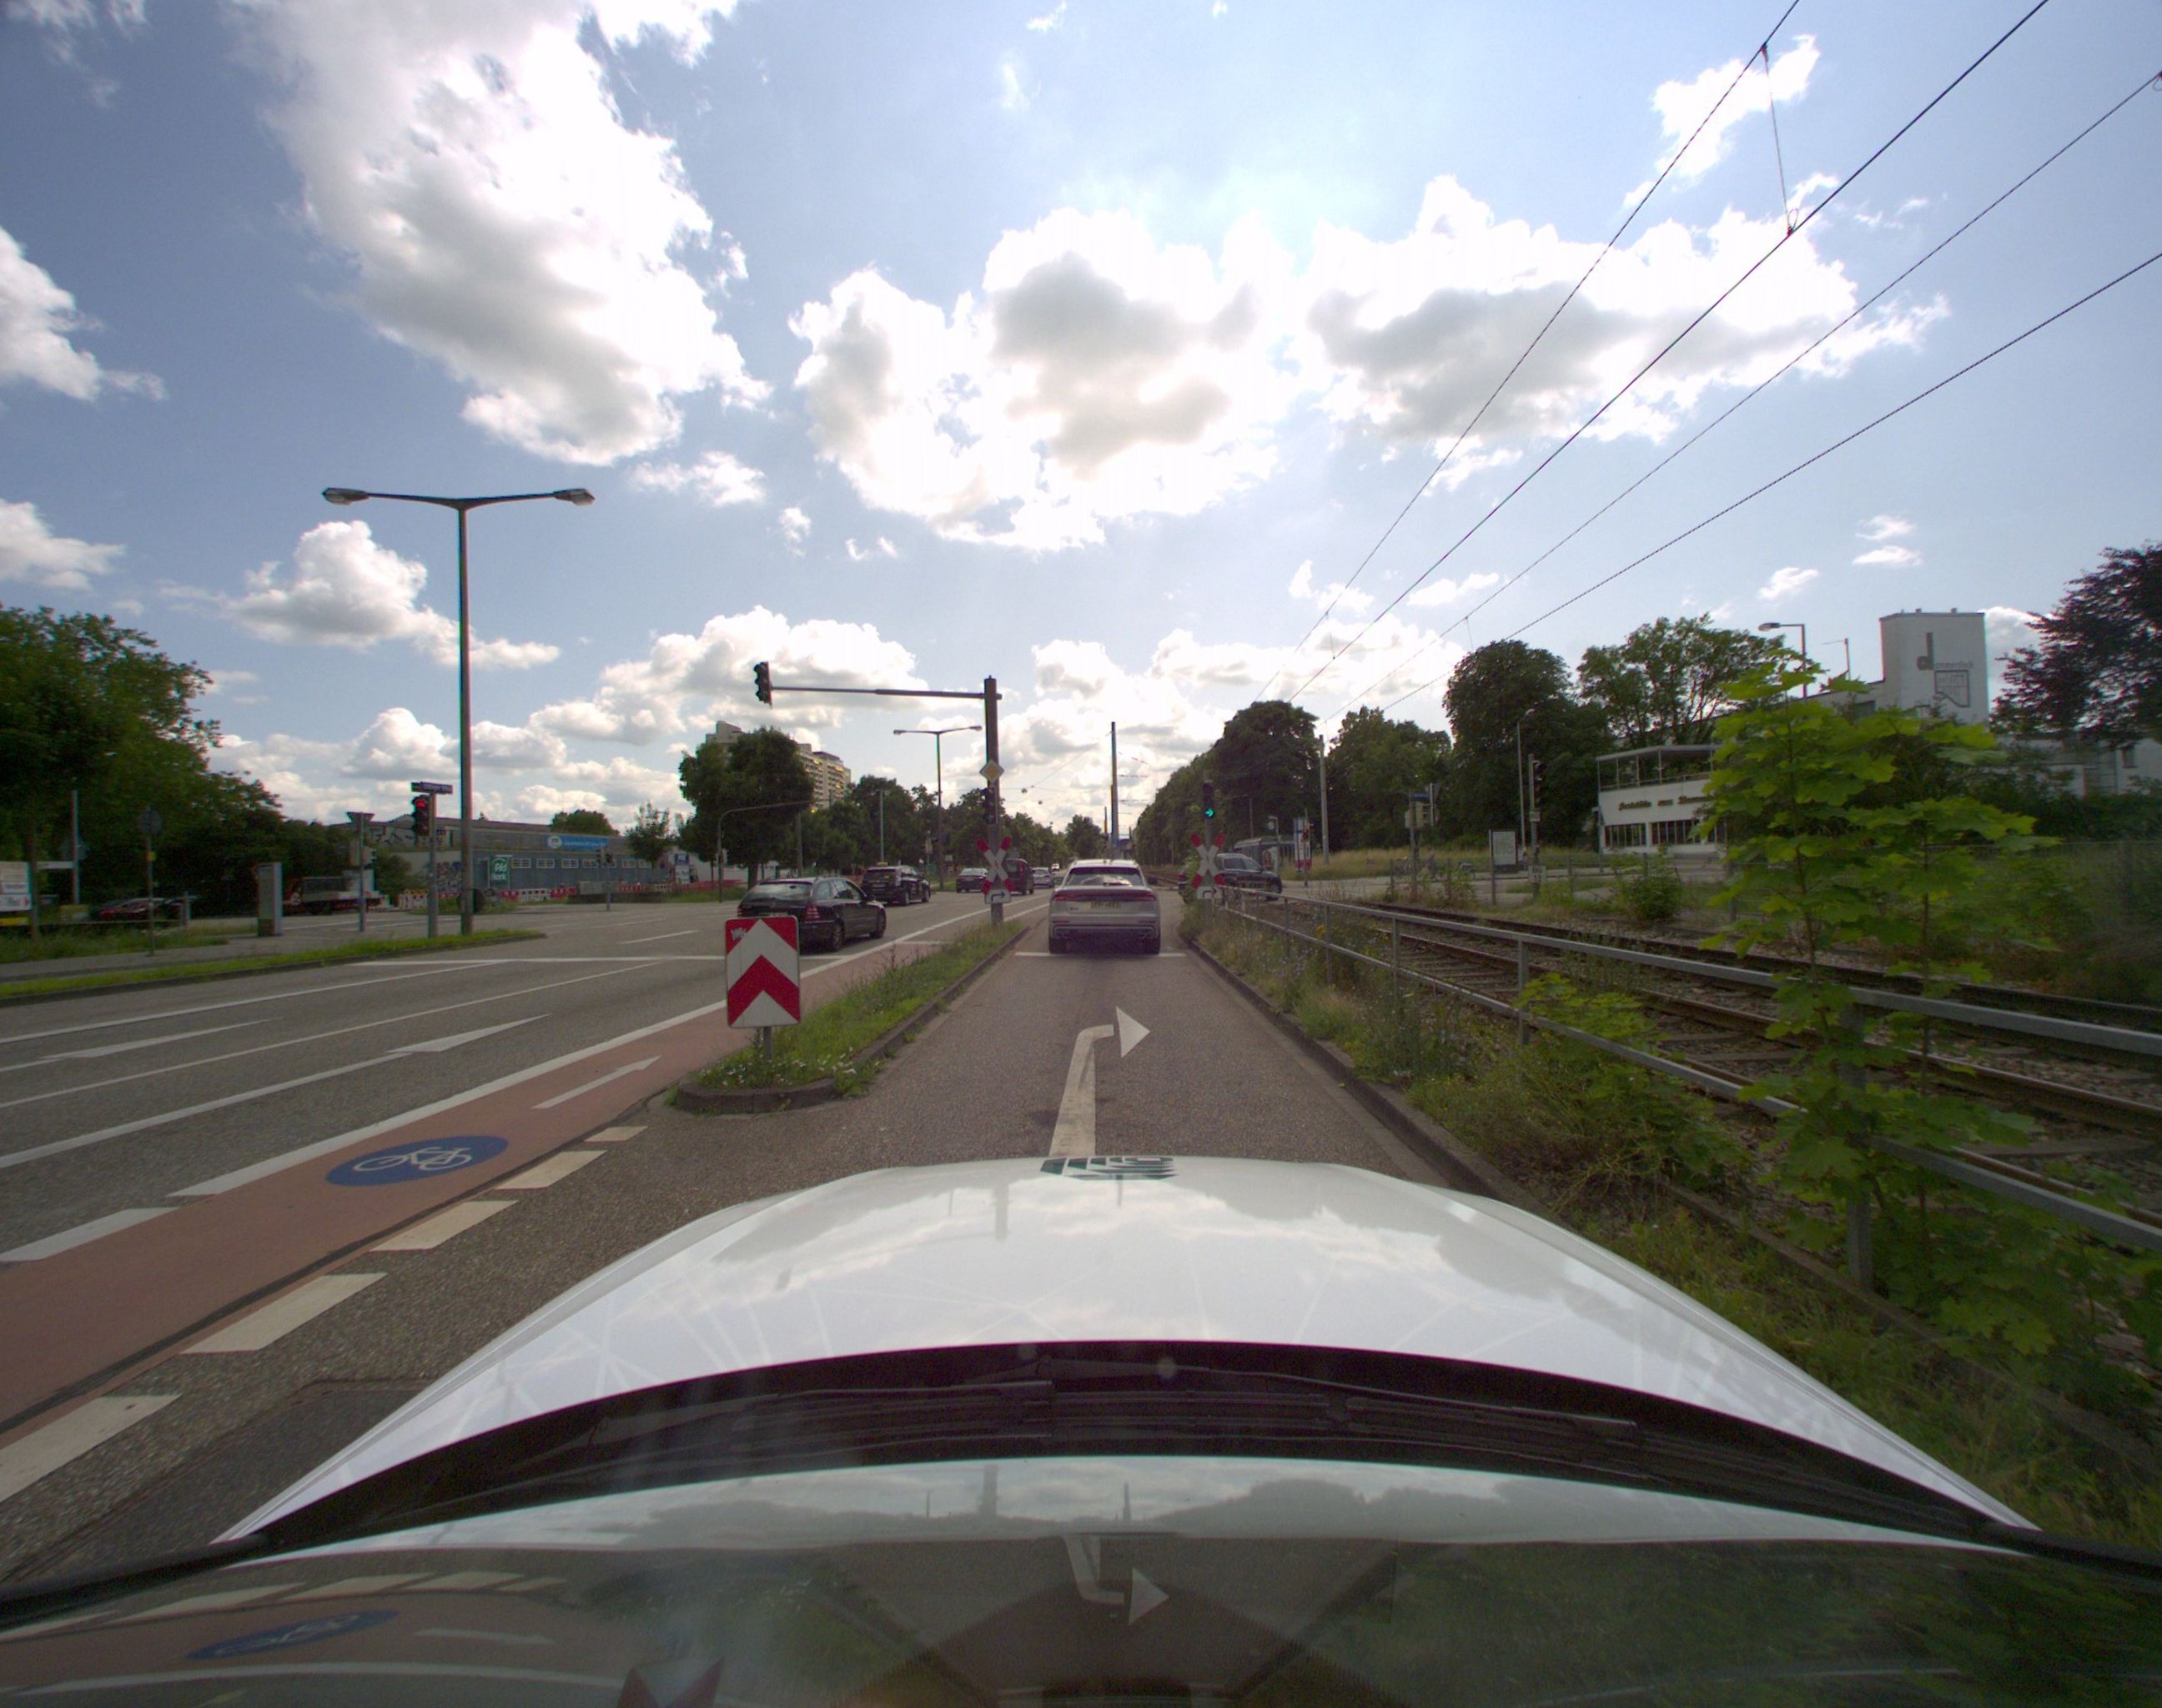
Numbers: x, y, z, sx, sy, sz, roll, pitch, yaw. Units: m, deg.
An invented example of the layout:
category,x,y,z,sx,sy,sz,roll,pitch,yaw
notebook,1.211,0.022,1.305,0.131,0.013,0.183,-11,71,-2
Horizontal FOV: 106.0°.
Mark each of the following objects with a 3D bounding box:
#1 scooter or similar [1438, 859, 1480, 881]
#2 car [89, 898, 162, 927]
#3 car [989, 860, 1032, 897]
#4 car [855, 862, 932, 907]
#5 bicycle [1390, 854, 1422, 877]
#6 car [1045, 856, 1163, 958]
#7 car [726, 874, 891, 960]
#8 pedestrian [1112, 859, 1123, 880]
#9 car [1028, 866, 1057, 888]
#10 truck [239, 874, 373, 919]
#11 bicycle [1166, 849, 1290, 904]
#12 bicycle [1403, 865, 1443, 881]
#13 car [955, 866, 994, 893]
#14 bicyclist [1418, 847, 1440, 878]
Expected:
category,x,y,z,sx,sy,sz,roll,pitch,yaw
scooter or similar,18.307,0.777,39.430,1.567,0.979,0.963,-3,-1,4
car,-64.502,3.935,54.980,3.955,1.786,1.719,-2,-1,17
car,-3.520,1.217,41.289,1.753,1.777,3.909,-1,-1,1
car,-7.440,1.191,32.713,1.777,1.668,4.345,-1,-1,4
bicycle,17.398,0.627,43.541,1.667,1.132,0.694,-4,0,-33
car,0.488,0.934,15.996,1.973,1.684,4.576,-1,-1,3
car,-5.327,1.170,16.568,1.748,1.466,4.434,-1,-1,1
pedestrian,2.714,1.133,60.131,0.653,1.514,0.716,-2,-1,-7
car,-2.719,1.641,58.490,1.779,1.525,4.302,-1,-1,1
truck,-46.862,2.552,49.270,6.905,2.439,3.055,-2,-1,20
bicycle,5.058,0.738,27.682,4.232,1.675,1.975,-1,-1,-44
bicycle,16.667,0.930,39.670,1.714,0.765,0.556,-1,-1,4
car,-6.352,1.510,48.963,1.858,1.505,3.999,-1,-1,0
bicyclist,16.932,0.414,39.672,0.835,1.475,0.456,-2,-1,4
